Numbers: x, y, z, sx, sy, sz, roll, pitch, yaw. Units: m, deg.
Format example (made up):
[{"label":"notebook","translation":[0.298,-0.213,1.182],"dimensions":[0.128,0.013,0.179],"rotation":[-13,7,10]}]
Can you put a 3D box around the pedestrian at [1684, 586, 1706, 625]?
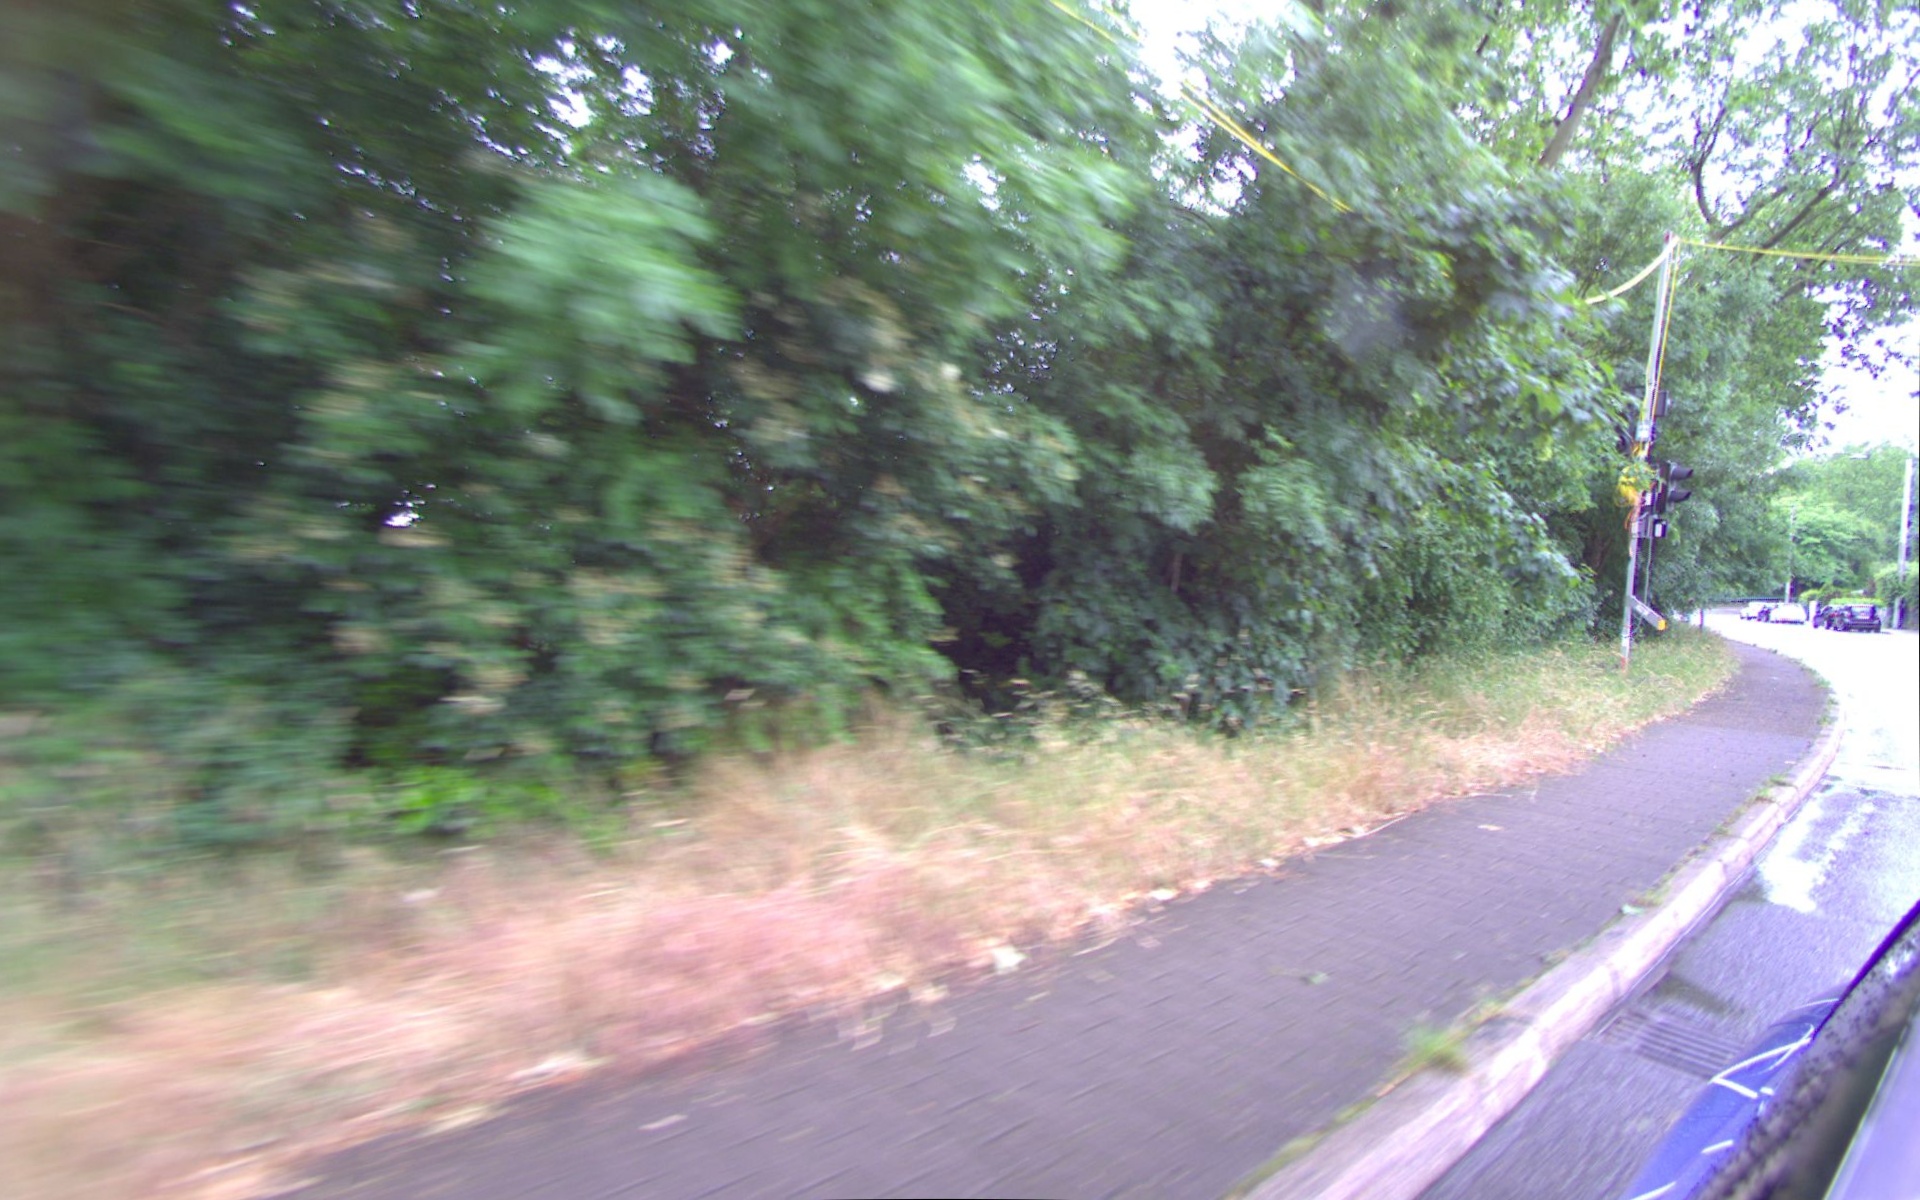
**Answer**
[{"label":"pedestrian","translation":[31.735,0.231,43.704],"dimensions":[0.638,1.631,0.663],"rotation":[2,2,30]}]

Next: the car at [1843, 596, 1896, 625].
[{"label":"car","translation":[49.933,0.555,55.613],"dimensions":[1.513,1.472,2.996],"rotation":[4,2,31]}]

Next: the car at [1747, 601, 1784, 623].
[{"label":"car","translation":[64.353,0.946,80.931],"dimensions":[1.724,1.439,4.237],"rotation":[-3,1,32]}]

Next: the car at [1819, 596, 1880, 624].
[{"label":"car","translation":[52.125,0.563,59.381],"dimensions":[1.678,1.435,4.174],"rotation":[4,2,28]}]

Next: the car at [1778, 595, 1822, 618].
[{"label":"car","translation":[59.802,0.449,72.096],"dimensions":[1.689,1.486,3.673],"rotation":[2,2,29]}]
